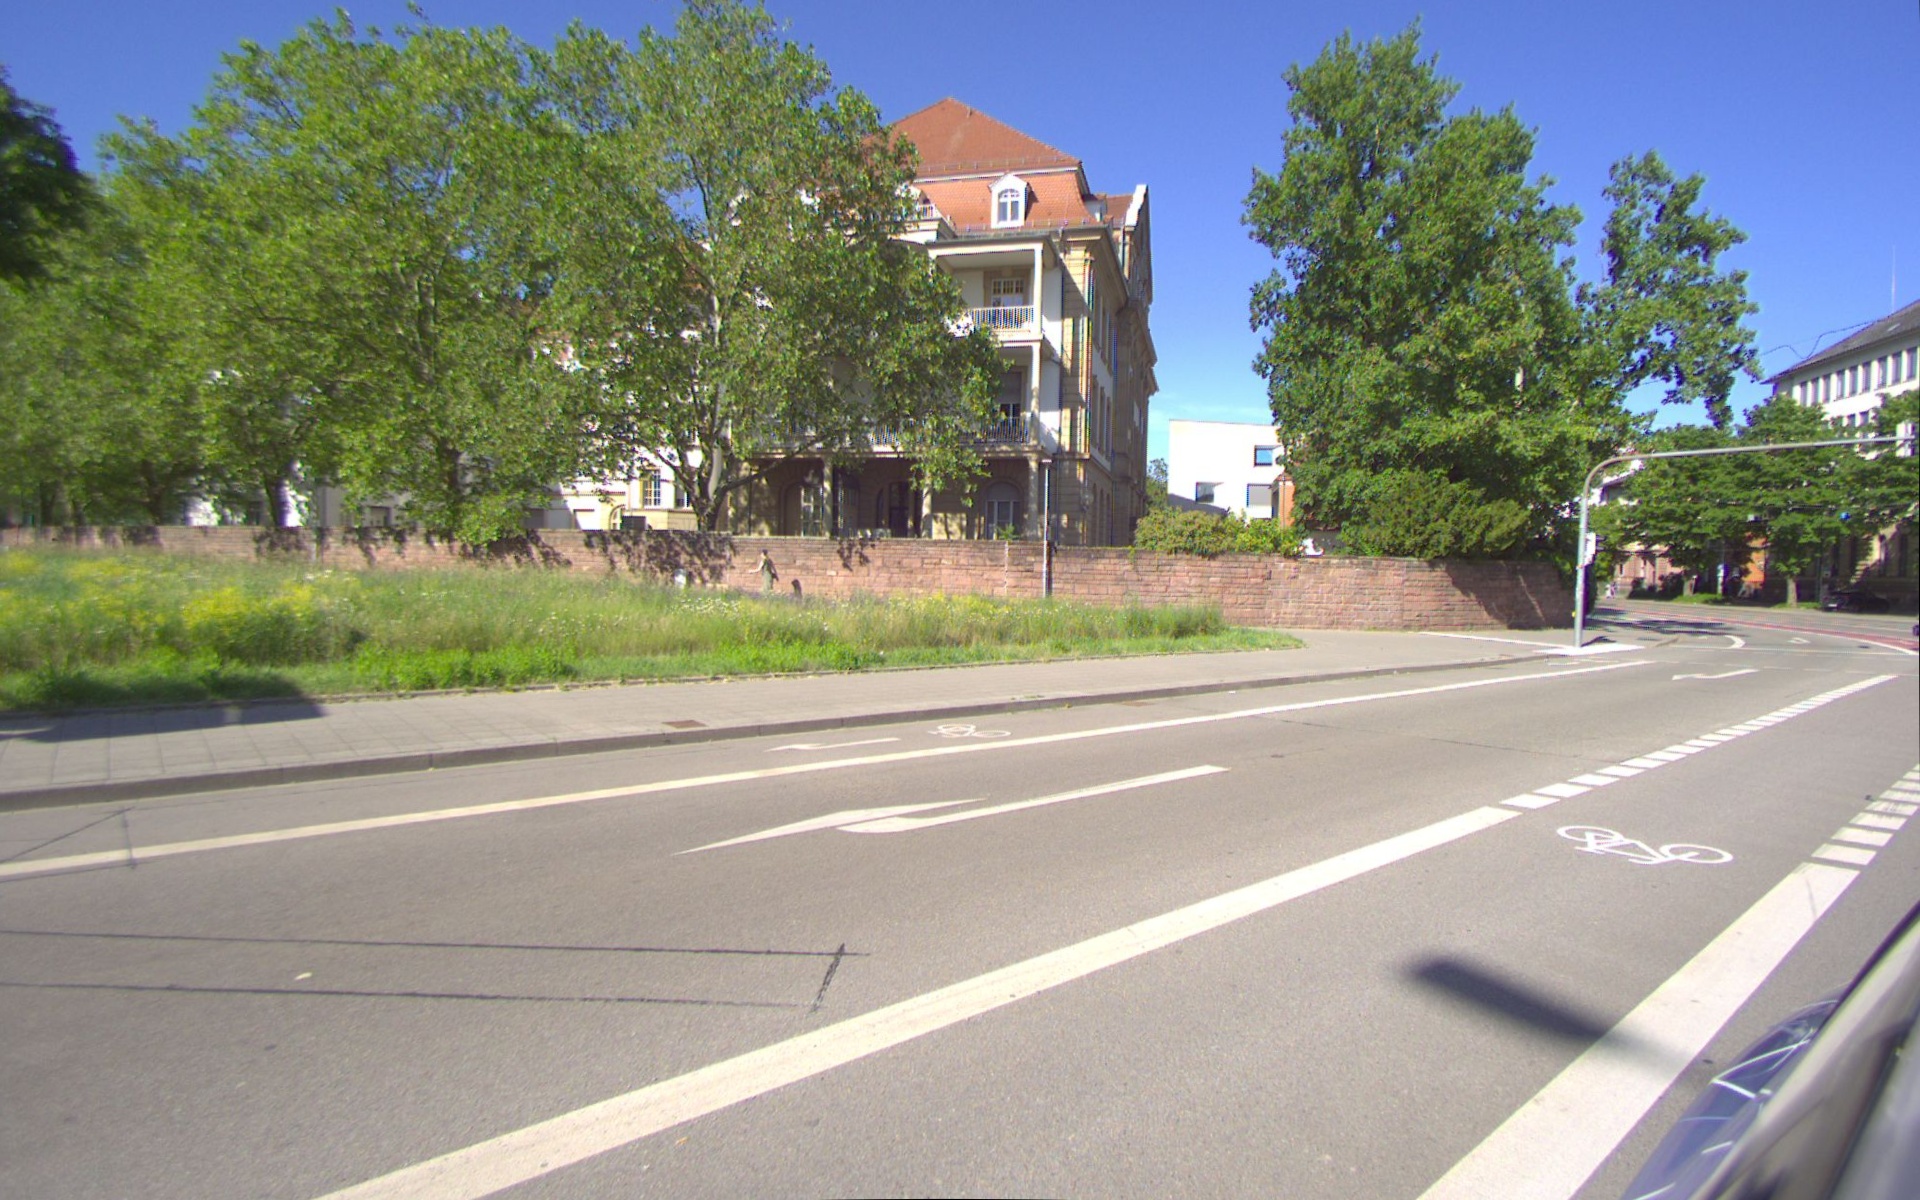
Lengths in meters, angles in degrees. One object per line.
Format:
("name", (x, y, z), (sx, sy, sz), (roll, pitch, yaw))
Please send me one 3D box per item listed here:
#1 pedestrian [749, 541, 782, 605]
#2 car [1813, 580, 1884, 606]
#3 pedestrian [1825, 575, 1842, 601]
("pedestrian", (-5.887, -0.816, 30.622), (0.775, 1.881, 0.628), (1, 1, 13))
("car", (60.434, -0.507, 68.899), (1.806, 1.615, 3.988), (2, 2, 11))
("pedestrian", (64.639, -0.908, 74.871), (0.568, 1.927, 0.781), (1, 1, 12))
